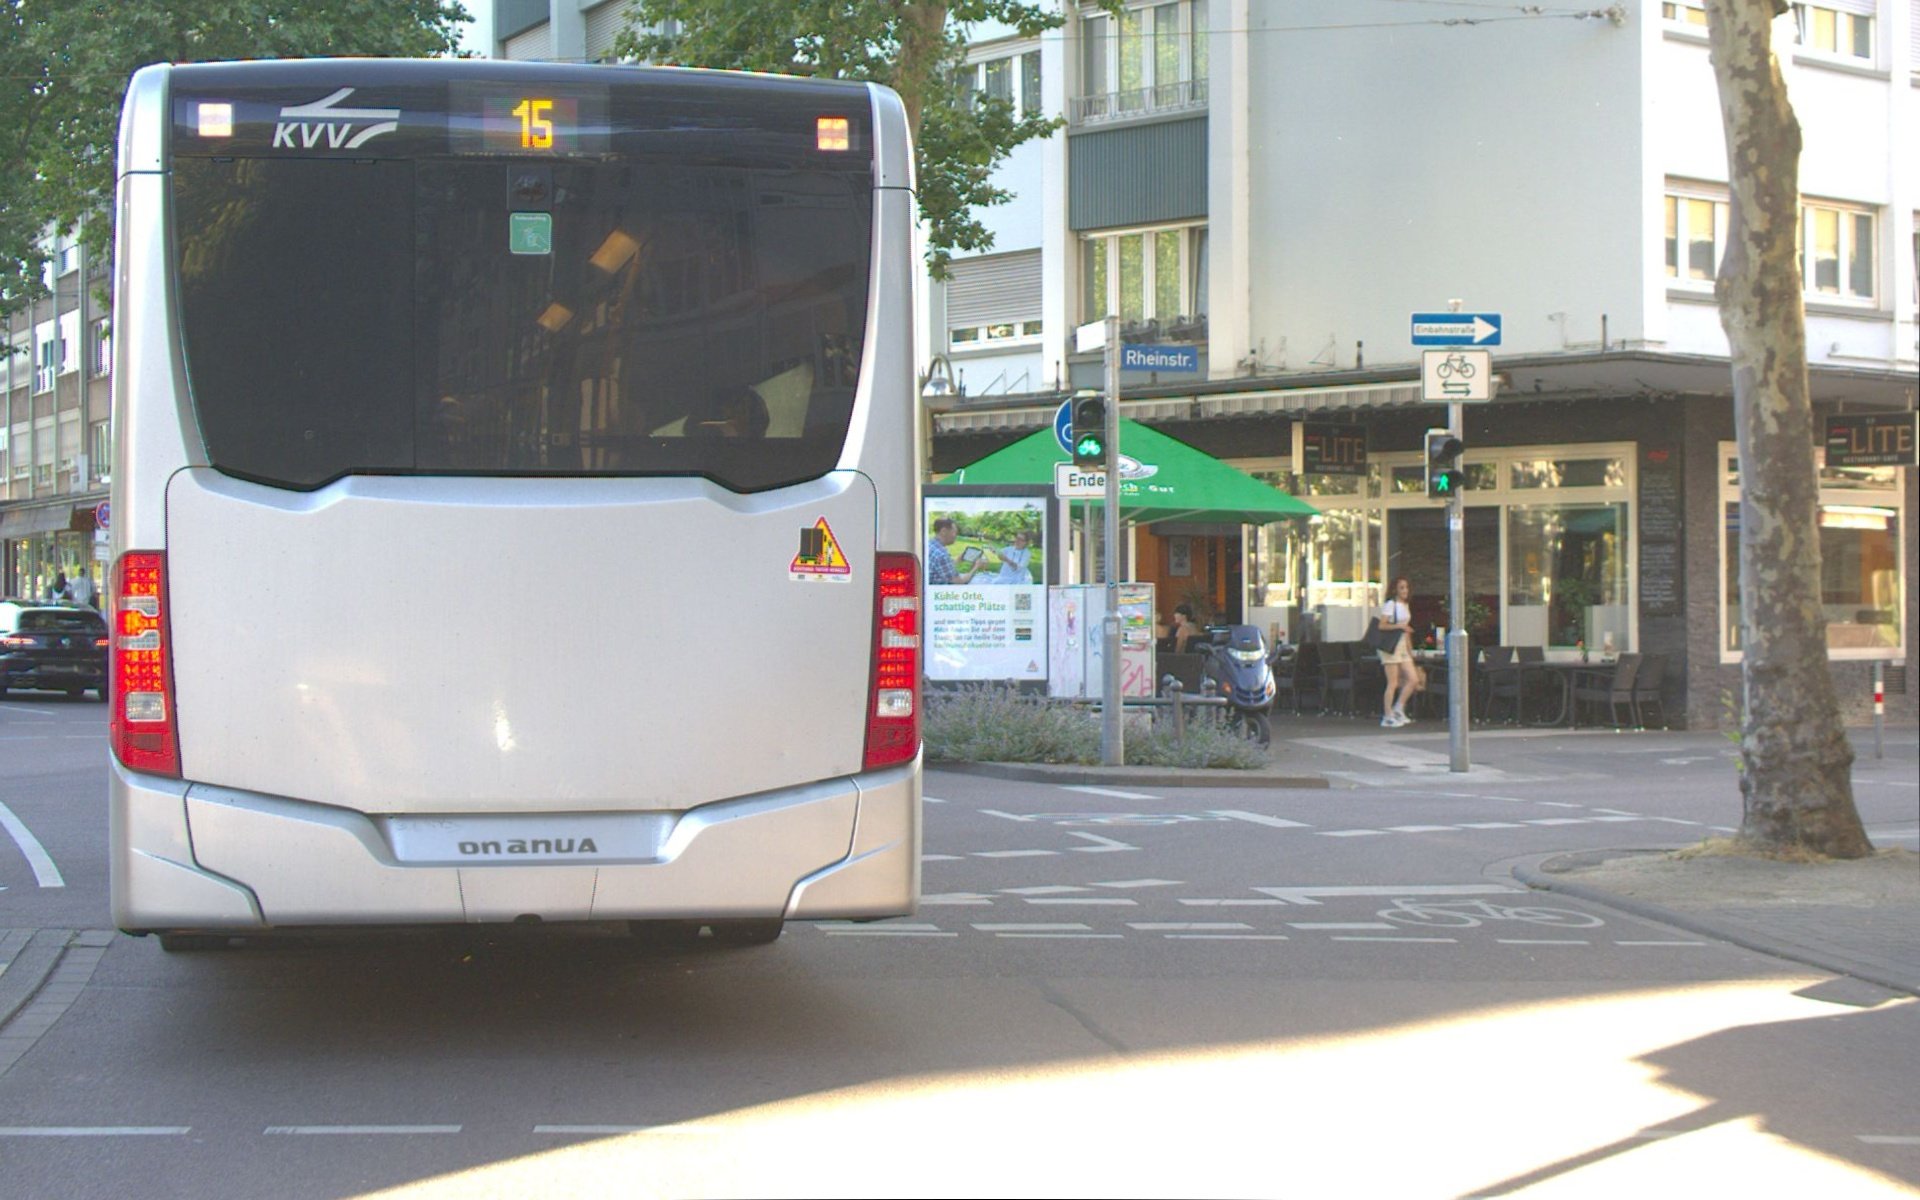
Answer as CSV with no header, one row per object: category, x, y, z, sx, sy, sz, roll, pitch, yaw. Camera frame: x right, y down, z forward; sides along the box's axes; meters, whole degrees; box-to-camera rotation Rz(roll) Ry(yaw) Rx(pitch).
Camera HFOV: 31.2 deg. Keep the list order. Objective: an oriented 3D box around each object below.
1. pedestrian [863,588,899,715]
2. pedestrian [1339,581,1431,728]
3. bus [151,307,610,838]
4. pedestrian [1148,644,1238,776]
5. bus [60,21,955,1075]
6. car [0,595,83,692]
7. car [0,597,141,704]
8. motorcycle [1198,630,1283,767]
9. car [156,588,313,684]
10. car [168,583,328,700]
pedestrian,-1.078,0.699,47.002,0.357,1.712,0.309,2,0,-18
pedestrian,4.570,0.581,36.956,0.602,1.543,0.716,2,0,-43
bus,-4.520,-0.133,25.271,2.657,3.088,10.218,0,0,-13
pedestrian,2.262,1.062,33.405,0.550,1.239,0.732,2,0,-24
bus,-2.340,-0.129,15.347,2.657,3.088,10.218,0,0,-11
car,-14.894,0.658,53.849,1.755,1.459,4.001,0,0,-21
car,-12.893,0.694,49.173,1.755,1.459,4.001,0,0,-21
motorcycle,2.455,0.847,30.191,0.570,1.154,1.461,2,-1,-1
car,-12.250,0.586,57.954,1.662,1.463,3.413,-3,2,-28
car,-10.331,0.575,49.730,1.759,1.622,3.613,0,0,-20
